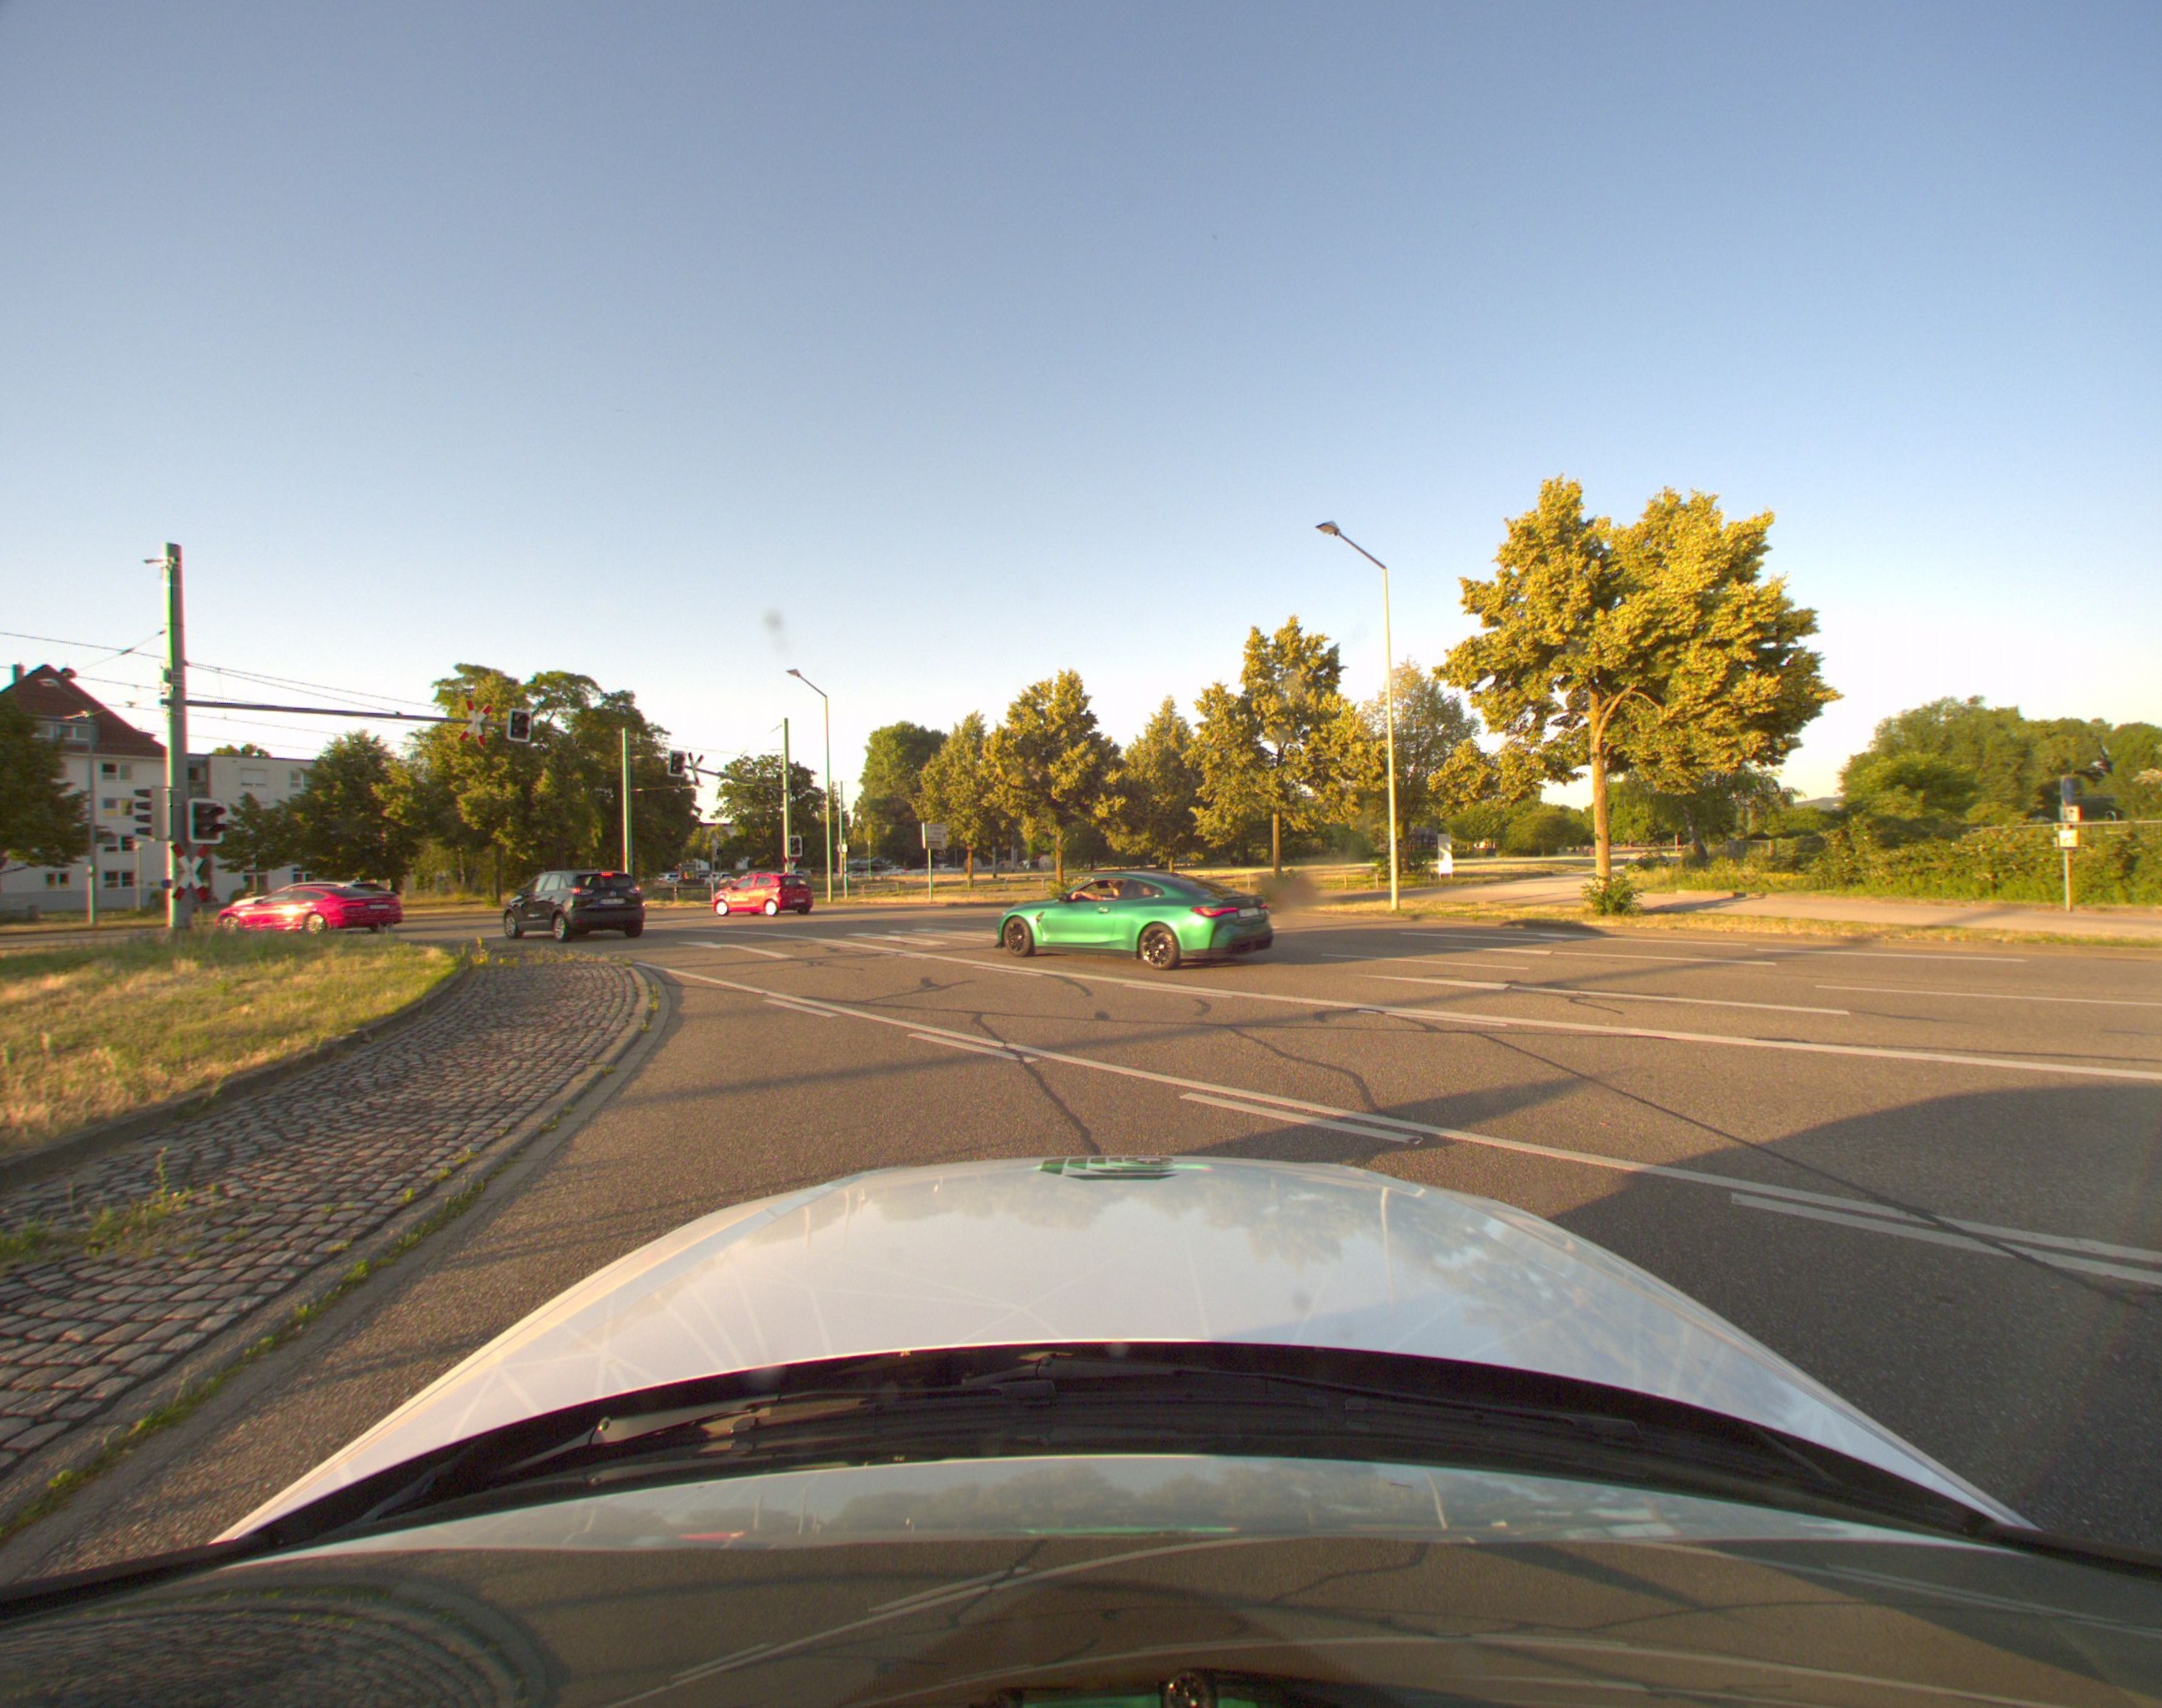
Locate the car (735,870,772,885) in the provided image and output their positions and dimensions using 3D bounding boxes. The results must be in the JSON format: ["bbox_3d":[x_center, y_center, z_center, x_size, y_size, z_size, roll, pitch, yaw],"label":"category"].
[{"bbox_3d":[-37.049,2.702,92.056,3.948,1.604,2.013,-2,0,34],"label":"car"}]

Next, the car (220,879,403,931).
[{"bbox_3d":[-29.311,1.913,31.186,4.701,1.706,1.993,-2,0,-10],"label":"car"}]

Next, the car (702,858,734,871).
[{"bbox_3d":[-61.923,1.782,139.057,1.974,2.013,4.628,-2,0,36],"label":"car"}]

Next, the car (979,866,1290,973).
[{"bbox_3d":[0.718,0.933,13.092,4.674,1.371,2.013,-2,0,40],"label":"car"}]

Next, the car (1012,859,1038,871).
[{"bbox_3d":[-7.953,1.516,115.258,1.748,1.618,3.954,-1,0,-39],"label":"car"}]

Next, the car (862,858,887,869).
[{"bbox_3d":[-37.957,1.770,150.038,1.975,2.013,4.025,-2,0,42],"label":"car"}]

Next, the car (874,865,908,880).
[{"bbox_3d":[-27.649,2.677,118.507,4.578,2.013,1.995,-2,0,-7],"label":"car"}]

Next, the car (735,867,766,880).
[{"bbox_3d":[-46.227,2.778,113.938,4.005,1.662,1.984,-2,0,-24],"label":"car"}]

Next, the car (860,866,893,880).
[{"bbox_3d":[-26.668,2.477,105.982,3.948,1.604,2.013,-2,0,34],"label":"car"}]

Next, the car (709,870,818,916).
[{"bbox_3d":[-11.201,1.373,28.728,3.447,1.500,1.652,-2,0,25],"label":"car"}]

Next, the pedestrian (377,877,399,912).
[{"bbox_3d":[-37.646,2.189,44.238,0.666,1.893,0.619,0,-1,-4],"label":"pedestrian"}]

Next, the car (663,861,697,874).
[{"bbox_3d":[-65.662,2.228,133.318,1.974,2.013,4.627,-2,0,32],"label":"car"}]

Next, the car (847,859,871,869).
[{"bbox_3d":[-41.746,1.879,153.016,1.974,1.816,4.026,-2,0,37],"label":"car"}]

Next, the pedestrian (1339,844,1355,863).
[{"bbox_3d":[22.789,-0.063,69.689,1.064,1.617,0.911,-2,0,4],"label":"pedestrian"}]

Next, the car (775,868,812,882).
[{"bbox_3d":[-33.697,2.444,95.425,3.948,1.604,2.013,-2,0,34],"label":"car"}]

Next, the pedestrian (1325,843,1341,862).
[{"bbox_3d":[21.636,-0.150,69.956,1.064,1.617,0.911,-2,0,4],"label":"pedestrian"}]

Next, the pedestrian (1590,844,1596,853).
[{"bbox_3d":[92.935,-0.951,147.825,0.844,1.661,0.984,-2,0,21],"label":"pedestrian"}]

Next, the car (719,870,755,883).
[{"bbox_3d":[-46.111,3.009,109.139,1.878,1.662,4.026,-2,0,37],"label":"car"}]

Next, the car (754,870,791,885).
[{"bbox_3d":[-35.504,2.704,93.666,3.948,1.604,2.013,-2,0,34],"label":"car"}]

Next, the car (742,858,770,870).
[{"bbox_3d":[-57.835,1.798,144.928,1.974,2.013,4.143,-2,0,36],"label":"car"}]

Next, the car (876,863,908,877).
[{"bbox_3d":[-29.375,2.407,126.694,4.578,2.013,1.995,-2,0,-7],"label":"car"}]

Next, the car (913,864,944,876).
[{"bbox_3d":[-21.465,2.308,114.782,3.948,1.604,2.013,-2,0,34],"label":"car"}]

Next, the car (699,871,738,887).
[{"bbox_3d":[-39.019,2.680,87.537,3.948,1.604,2.013,-2,0,34],"label":"car"}]

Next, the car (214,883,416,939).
[{"bbox_3d":[-21.826,1.618,23.275,4.454,1.392,1.901,-2,0,10],"label":"car"}]

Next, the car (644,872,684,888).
[{"bbox_3d":[-42.650,2.672,83.319,3.948,1.604,2.013,-2,0,34],"label":"car"}]

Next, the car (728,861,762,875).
[{"bbox_3d":[-51.880,2.117,125.798,1.974,2.013,4.627,-2,0,32],"label":"car"}]

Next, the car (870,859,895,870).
[{"bbox_3d":[-35.681,1.880,146.431,3.964,1.706,2.005,-2,0,8],"label":"car"}]

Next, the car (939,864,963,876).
[{"bbox_3d":[-20.838,2.520,129.983,2.008,1.752,4.549,-1,1,-35],"label":"car"}]

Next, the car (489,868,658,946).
[{"bbox_3d":[-11.919,1.181,19.057,3.948,1.584,1.908,-2,0,35],"label":"car"}]

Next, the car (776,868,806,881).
[{"bbox_3d":[-41.297,2.877,115.990,4.001,1.662,1.889,-2,0,-20],"label":"car"}]

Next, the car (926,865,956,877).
[{"bbox_3d":[-19.990,2.365,116.476,3.948,1.604,2.013,-2,0,34],"label":"car"}]

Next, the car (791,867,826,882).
[{"bbox_3d":[-32.632,2.453,97.605,3.948,1.604,2.013,-2,0,34],"label":"car"}]
